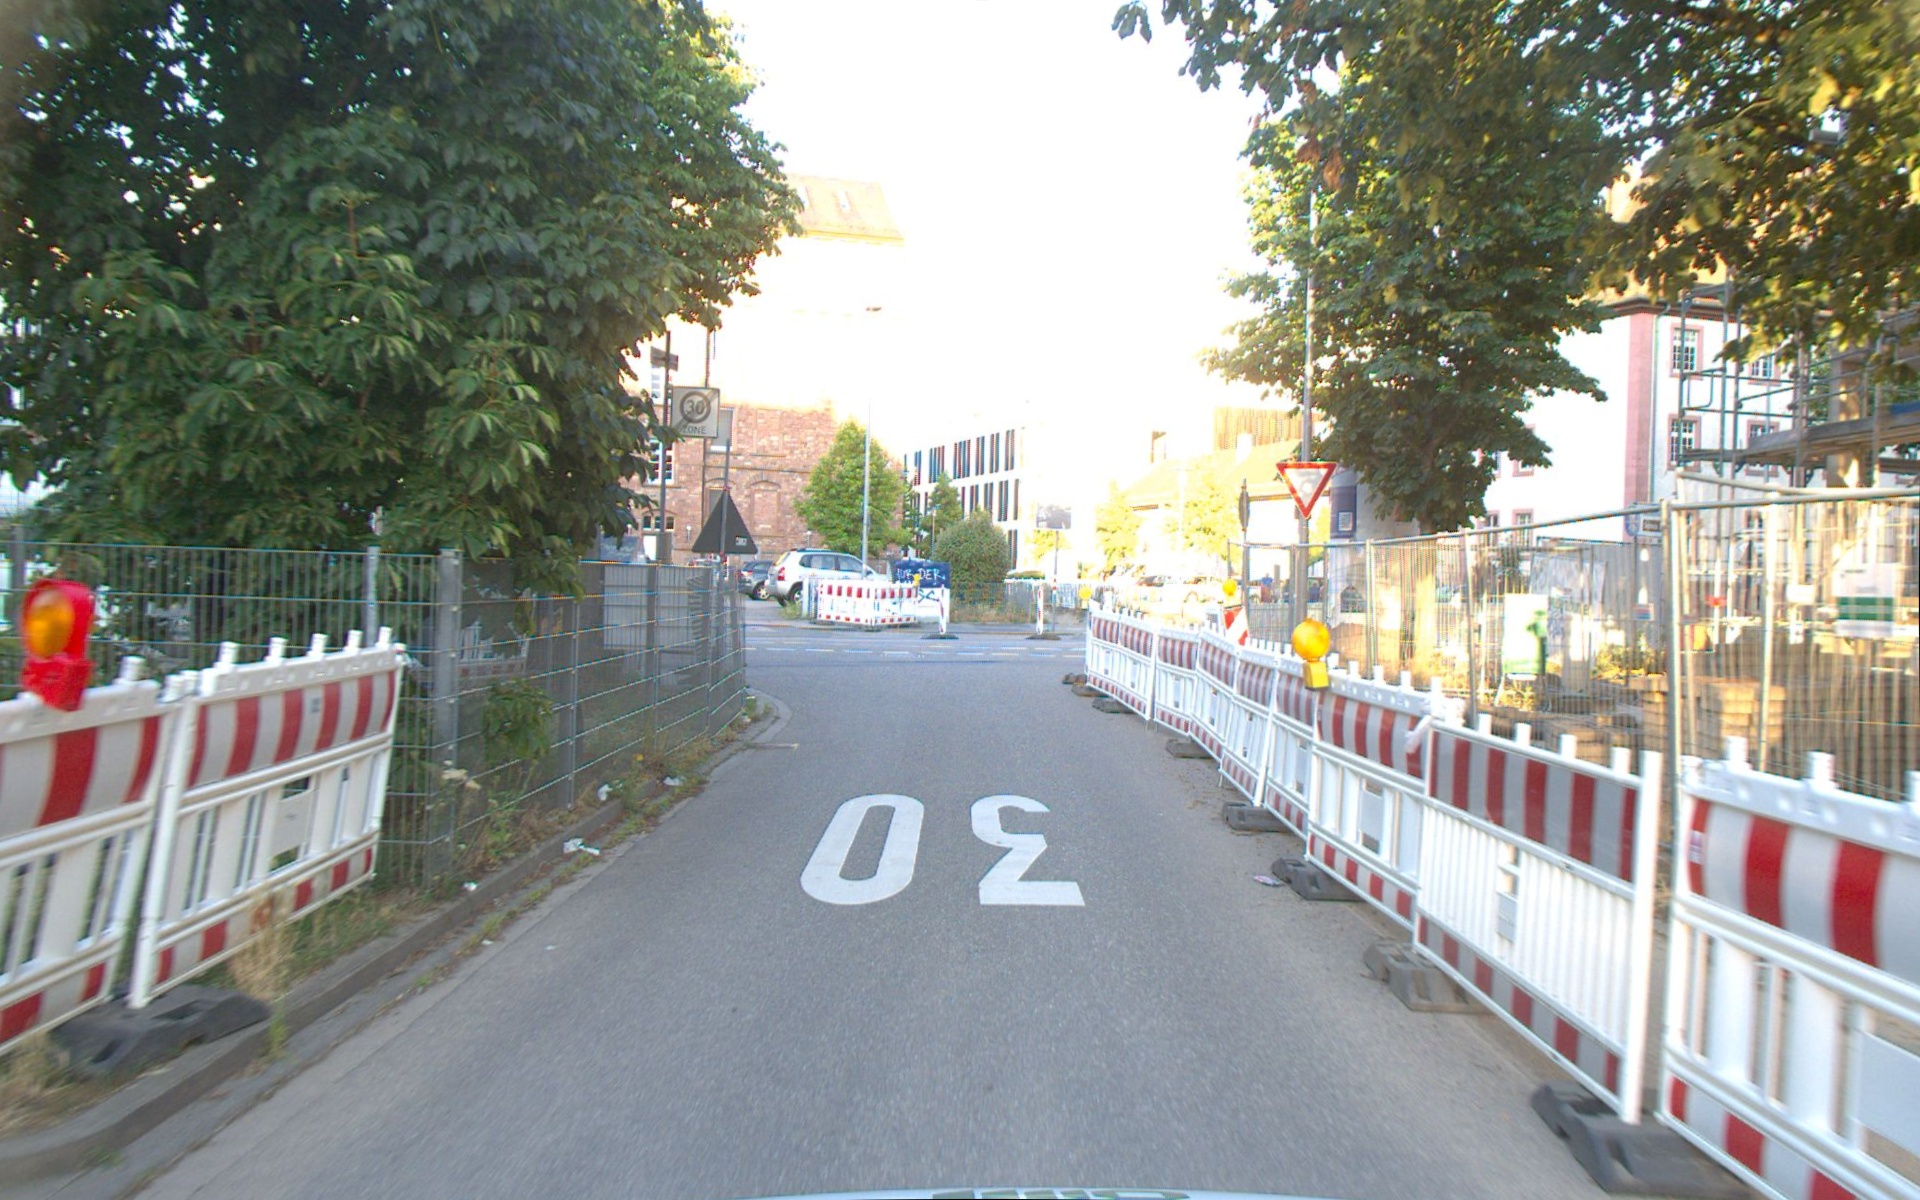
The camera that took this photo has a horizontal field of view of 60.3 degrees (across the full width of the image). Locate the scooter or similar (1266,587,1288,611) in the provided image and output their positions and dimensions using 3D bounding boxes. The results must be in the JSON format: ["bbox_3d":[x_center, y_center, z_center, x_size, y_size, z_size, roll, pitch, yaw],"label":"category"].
[{"bbox_3d":[12.354,-0.039,64.406,0.505,0.906,0.802,1,0,-17],"label":"scooter or similar"}]

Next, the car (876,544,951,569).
[{"bbox_3d":[-2.666,-2.503,94.505,3.926,1.336,1.868,1,1,-19],"label":"car"}]

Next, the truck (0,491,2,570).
[{"bbox_3d":[-26.246,-1.836,42.054,2.070,2.127,4.496,1,1,-14],"label":"truck"}]

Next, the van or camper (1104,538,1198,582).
[{"bbox_3d":[10.525,-2.202,91.186,4.891,2.279,1.676,1,0,-21],"label":"van or camper"}]

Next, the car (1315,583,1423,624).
[{"bbox_3d":[17.069,0.134,69.057,3.930,1.600,1.988,1,0,-21],"label":"car"}]

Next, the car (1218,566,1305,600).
[{"bbox_3d":[14.189,-0.797,77.795,3.687,1.470,1.676,1,0,-21],"label":"car"}]

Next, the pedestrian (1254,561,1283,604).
[{"bbox_3d":[12.176,-0.674,65.358,0.737,1.671,1.010,1,0,-16],"label":"pedestrian"}]

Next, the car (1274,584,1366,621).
[{"bbox_3d":[15.973,0.093,73.414,3.687,1.555,1.676,1,0,-21],"label":"car"}]

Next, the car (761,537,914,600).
[{"bbox_3d":[-3.593,-0.914,48.473,4.204,1.738,1.694,1,1,-19],"label":"car"}]

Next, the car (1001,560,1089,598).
[{"bbox_3d":[3.895,-0.948,75.788,3.687,1.631,1.676,1,0,-21],"label":"car"}]

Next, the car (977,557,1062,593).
[{"bbox_3d":[2.831,-1.192,78.509,3.687,1.631,1.676,1,0,-21],"label":"car"}]

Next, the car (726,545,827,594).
[{"bbox_3d":[-6.807,-1.141,61.314,3.422,1.738,1.659,1,1,-19],"label":"car"}]

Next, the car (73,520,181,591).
[{"bbox_3d":[-22.076,-1.169,43.987,1.964,1.757,4.277,1,1,-19],"label":"car"}]

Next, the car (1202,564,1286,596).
[{"bbox_3d":[13.795,-0.951,80.352,3.687,1.470,1.676,1,0,-21],"label":"car"}]

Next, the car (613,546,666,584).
[{"bbox_3d":[-14.007,-1.527,72.197,1.866,1.564,4.160,1,1,-17],"label":"car"}]

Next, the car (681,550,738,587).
[{"bbox_3d":[-11.056,-1.409,72.785,1.866,1.564,4.160,1,1,-17],"label":"car"}]

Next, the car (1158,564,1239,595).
[{"bbox_3d":[12.094,-1.046,83.866,3.687,1.470,1.676,1,0,-21],"label":"car"}]
